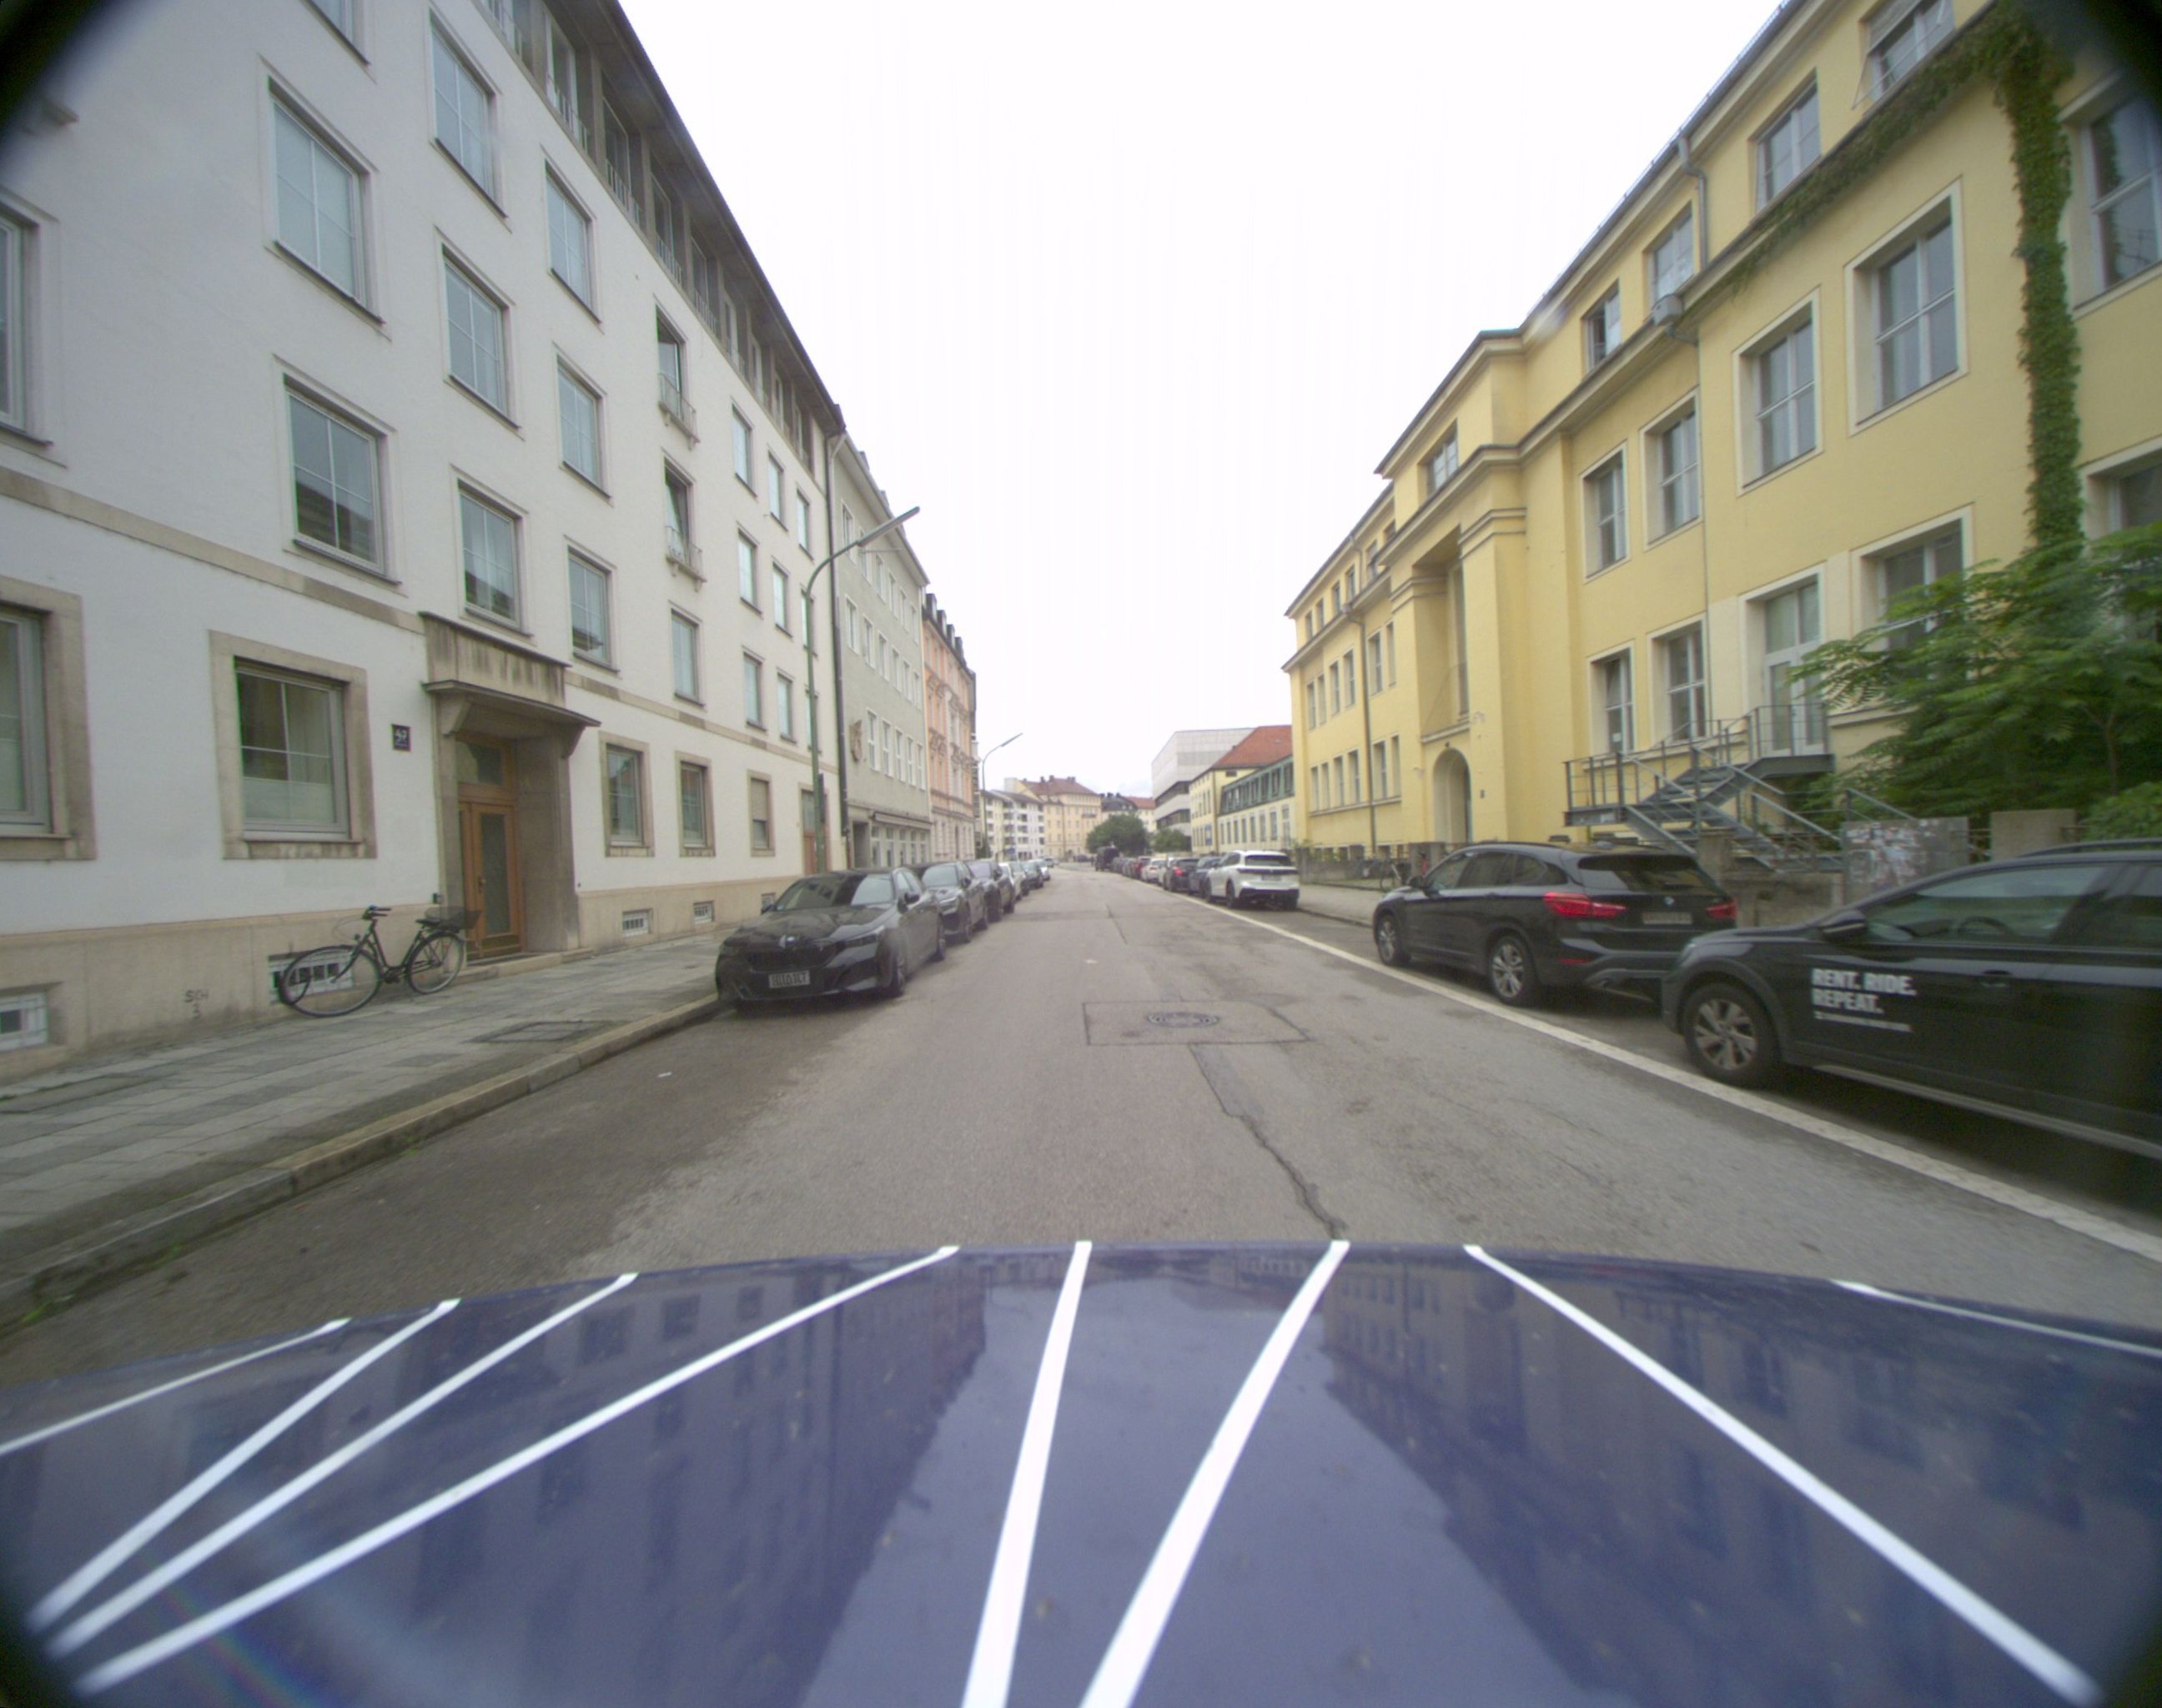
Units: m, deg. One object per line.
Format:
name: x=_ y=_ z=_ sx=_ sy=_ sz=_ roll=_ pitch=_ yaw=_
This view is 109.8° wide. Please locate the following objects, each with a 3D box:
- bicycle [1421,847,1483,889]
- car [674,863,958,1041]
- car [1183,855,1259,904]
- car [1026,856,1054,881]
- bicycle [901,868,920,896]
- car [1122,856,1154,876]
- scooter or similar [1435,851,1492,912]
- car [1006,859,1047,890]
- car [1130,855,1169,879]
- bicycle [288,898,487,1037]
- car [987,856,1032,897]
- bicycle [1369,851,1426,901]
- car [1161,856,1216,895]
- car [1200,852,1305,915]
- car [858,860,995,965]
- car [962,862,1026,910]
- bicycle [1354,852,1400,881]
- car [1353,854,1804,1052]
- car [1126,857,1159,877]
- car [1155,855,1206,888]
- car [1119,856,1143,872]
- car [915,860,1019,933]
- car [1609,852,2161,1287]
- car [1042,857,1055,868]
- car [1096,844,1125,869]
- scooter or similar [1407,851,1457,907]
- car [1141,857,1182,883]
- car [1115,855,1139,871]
bicycle: x=11.652 y=0.445 z=23.884 sx=1.630 sy=1.261 sz=0.527 roll=-2 pitch=0 yaw=1
car: x=-2.996 y=0.983 z=10.024 sx=1.807 sy=1.476 sz=5.319 roll=-5 pitch=0 yaw=-1
car: x=4.898 y=0.857 z=27.154 sx=1.708 sy=1.493 sz=4.494 roll=3 pitch=0 yaw=-2
car: x=-3.074 y=1.042 z=56.124 sx=1.686 sy=1.663 sz=3.801 roll=-4 pitch=0 yaw=-8
bicycle: x=-7.586 y=1.239 z=33.844 sx=0.385 sy=1.151 sz=1.949 roll=-2 pitch=0 yaw=-1
car: x=4.517 y=0.922 z=60.461 sx=2.020 sy=1.410 sz=4.614 roll=0 pitch=1 yaw=-2
scooter or similar: x=9.014 y=0.632 z=17.938 sx=0.561 sy=1.361 sz=1.501 roll=-2 pitch=0 yaw=0
car: x=-2.811 y=1.033 z=40.324 sx=1.692 sy=1.394 sz=4.363 roll=-3 pitch=0 yaw=1
car: x=4.536 y=0.821 z=50.762 sx=1.963 sy=1.473 sz=4.528 roll=0 pitch=0 yaw=-3
bicycle: x=-7.472 y=1.149 z=8.333 sx=0.514 sy=1.215 sz=1.987 roll=-2 pitch=0 yaw=-7
car: x=-3.089 y=0.954 z=33.657 sx=1.711 sy=1.583 sz=4.360 roll=-4 pitch=0 yaw=-3
bicycle: x=8.920 y=0.585 z=21.505 sx=0.682 sy=1.321 sz=2.113 roll=-3 pitch=1 yaw=0
car: x=4.493 y=0.862 z=32.261 sx=1.703 sy=1.488 sz=4.148 roll=1 pitch=0 yaw=0
car: x=4.848 y=0.757 z=22.186 sx=1.750 sy=1.624 sz=4.855 roll=-1 pitch=0 yaw=-3
car: x=-2.901 y=1.022 z=15.280 sx=1.649 sy=1.580 sz=4.634 roll=-5 pitch=0 yaw=0
car: x=-3.052 y=1.085 z=27.463 sx=1.677 sy=1.421 sz=4.529 roll=-4 pitch=0 yaw=0
bicycle: x=11.545 y=0.478 z=29.644 sx=1.662 sy=1.044 sz=0.425 roll=-2 pitch=0 yaw=-7
car: x=4.900 y=0.802 z=8.561 sx=1.794 sy=1.577 sz=4.817 roll=0 pitch=0 yaw=-2
car: x=4.444 y=0.908 z=55.421 sx=1.754 sy=1.397 sz=4.353 roll=0 pitch=0 yaw=-4
car: x=4.835 y=0.814 z=37.494 sx=1.789 sy=1.423 sz=4.651 roll=-3 pitch=0 yaw=0
car: x=4.639 y=0.942 z=71.258 sx=1.918 sy=1.473 sz=4.531 roll=0 pitch=0 yaw=0
car: x=-2.856 y=1.008 z=20.148 sx=1.844 sy=1.513 sz=4.709 roll=-4 pitch=0 yaw=1
car: x=4.904 y=0.812 z=3.503 sx=1.729 sy=1.620 sz=4.465 roll=0 pitch=0 yaw=-2
car: x=-5.735 y=1.481 z=133.787 sx=1.921 sy=1.837 sz=5.319 roll=-1 pitch=-2 yaw=-7
car: x=3.353 y=0.281 z=87.033 sx=2.220 sy=2.837 sz=6.192 roll=0 pitch=0 yaw=-8
scooter or similar: x=8.976 y=0.620 z=19.489 sx=0.561 sy=1.361 sz=1.501 roll=-2 pitch=0 yaw=0
car: x=4.707 y=0.898 z=45.074 sx=1.799 sy=1.421 sz=4.663 roll=1 pitch=0 yaw=-2
car: x=4.538 y=0.902 z=76.020 sx=1.919 sy=1.578 sz=4.351 roll=1 pitch=-1 yaw=-3
